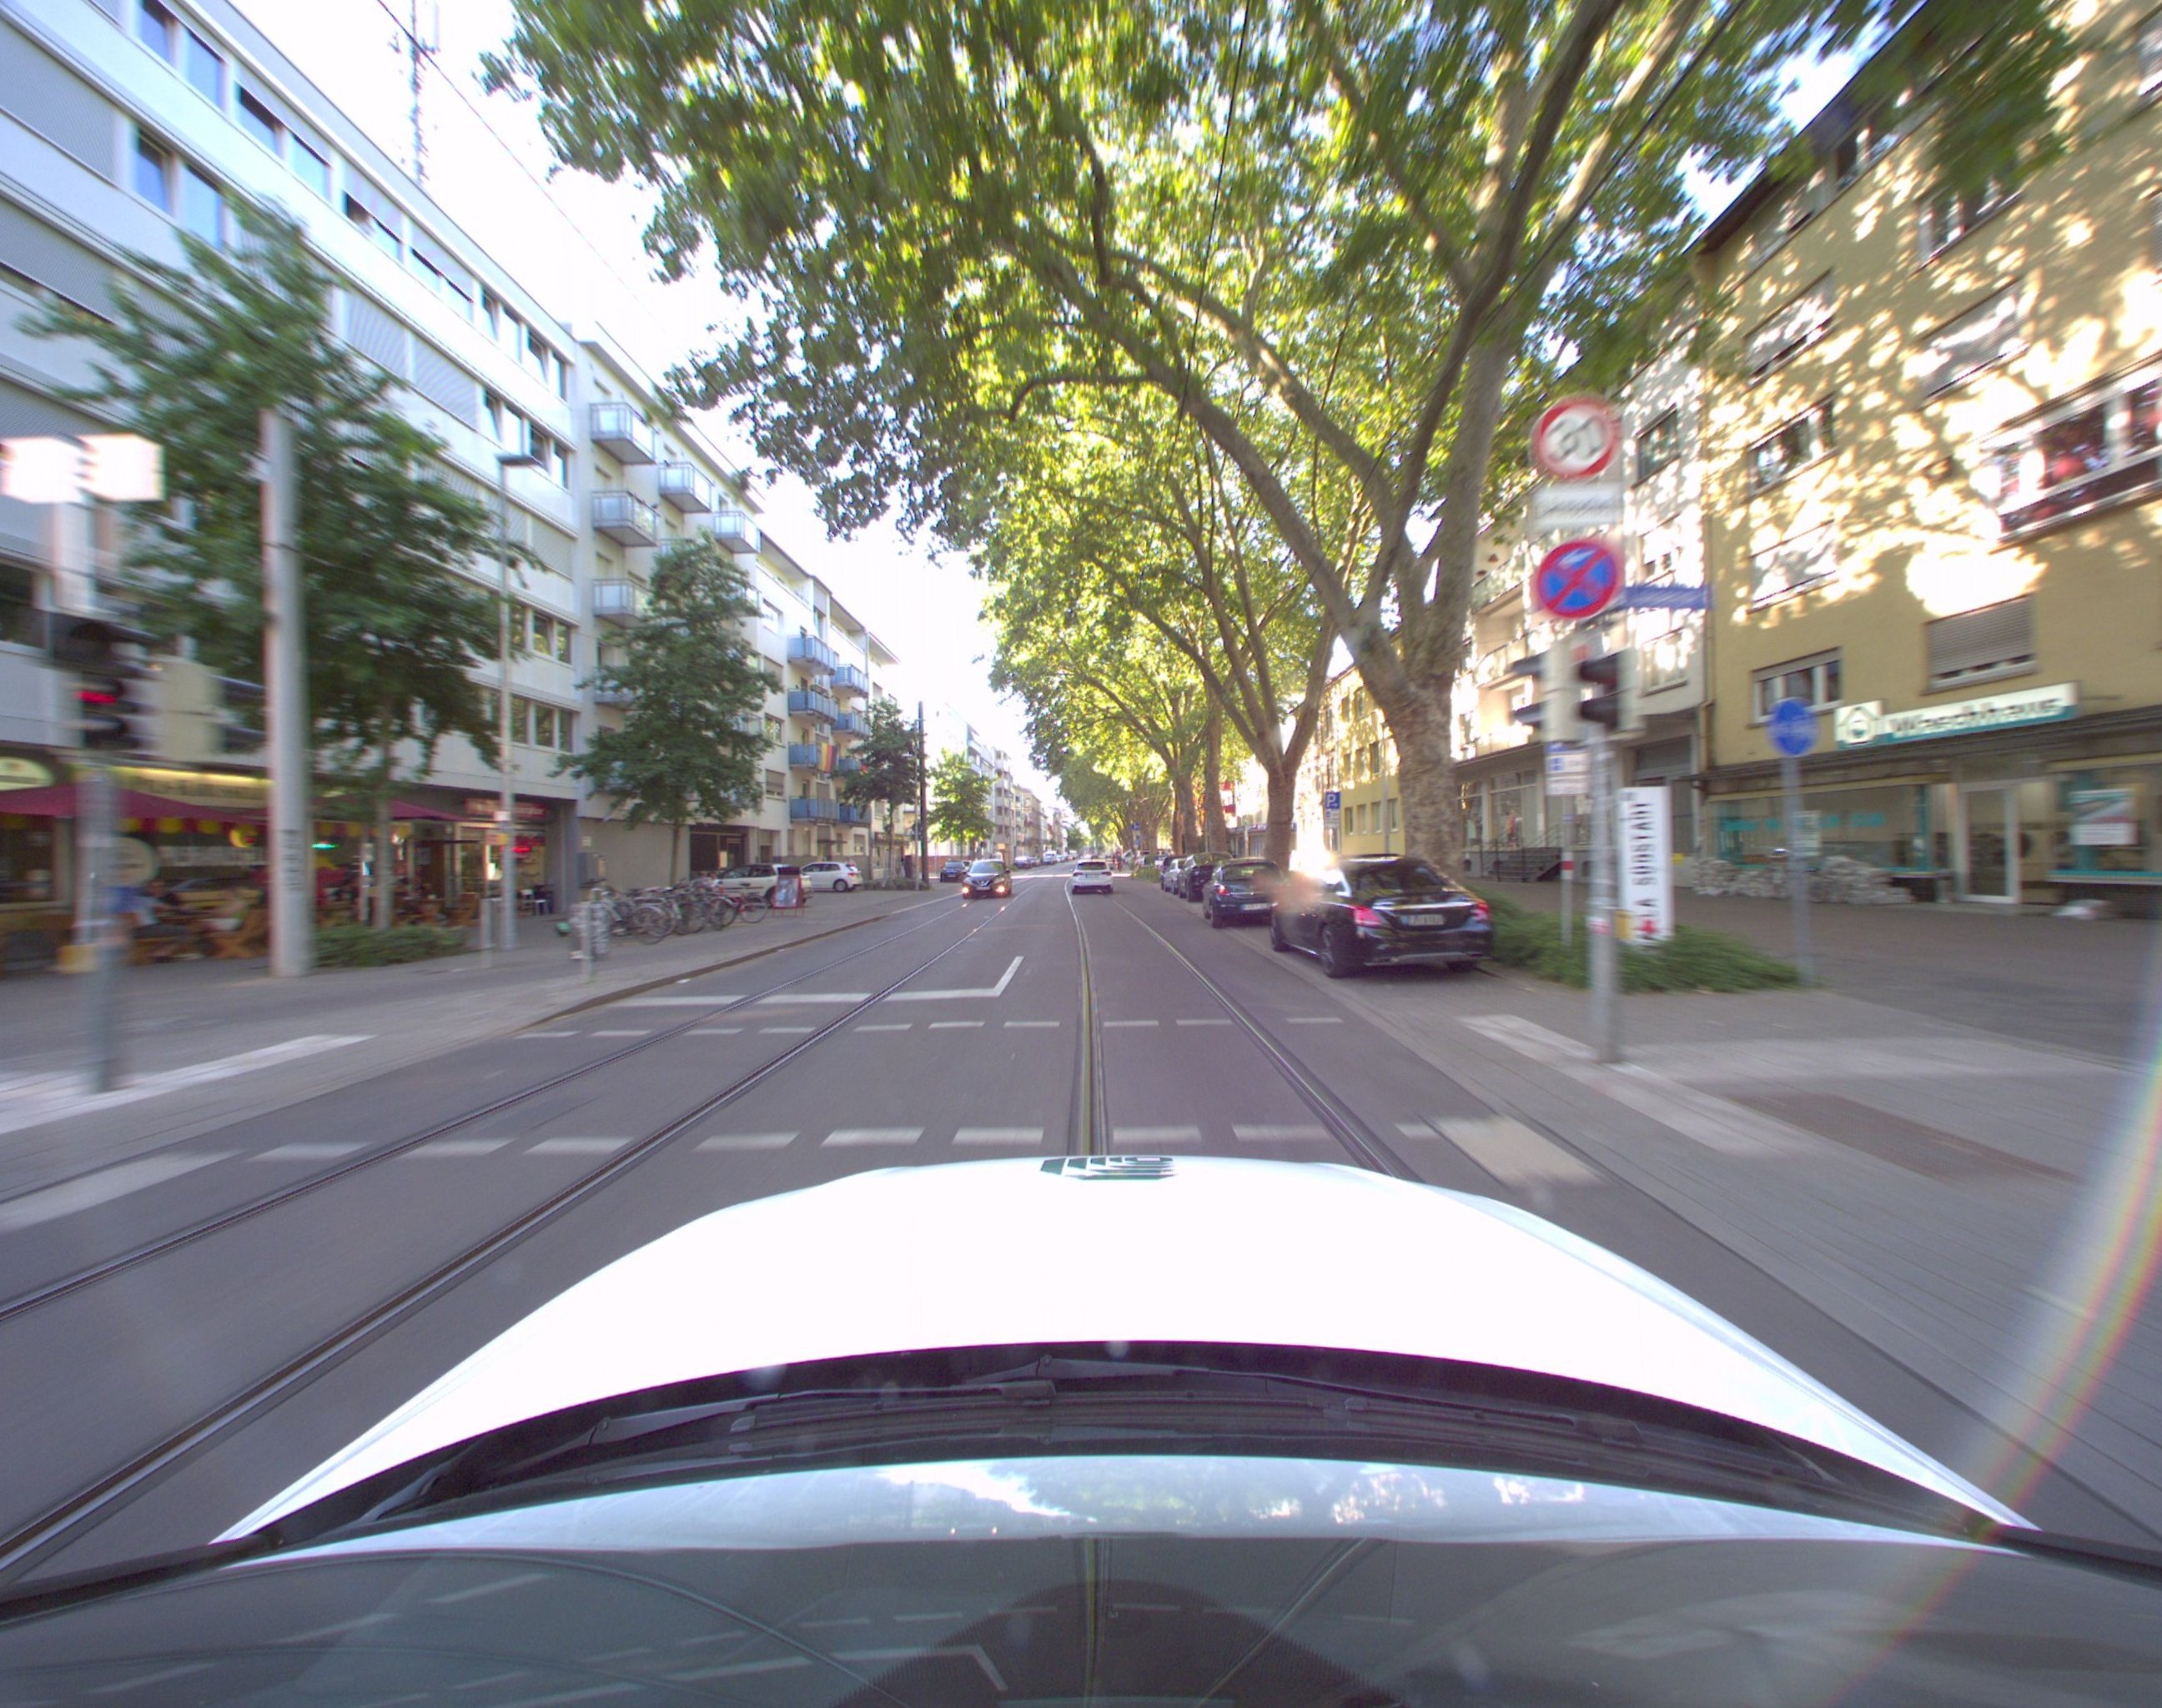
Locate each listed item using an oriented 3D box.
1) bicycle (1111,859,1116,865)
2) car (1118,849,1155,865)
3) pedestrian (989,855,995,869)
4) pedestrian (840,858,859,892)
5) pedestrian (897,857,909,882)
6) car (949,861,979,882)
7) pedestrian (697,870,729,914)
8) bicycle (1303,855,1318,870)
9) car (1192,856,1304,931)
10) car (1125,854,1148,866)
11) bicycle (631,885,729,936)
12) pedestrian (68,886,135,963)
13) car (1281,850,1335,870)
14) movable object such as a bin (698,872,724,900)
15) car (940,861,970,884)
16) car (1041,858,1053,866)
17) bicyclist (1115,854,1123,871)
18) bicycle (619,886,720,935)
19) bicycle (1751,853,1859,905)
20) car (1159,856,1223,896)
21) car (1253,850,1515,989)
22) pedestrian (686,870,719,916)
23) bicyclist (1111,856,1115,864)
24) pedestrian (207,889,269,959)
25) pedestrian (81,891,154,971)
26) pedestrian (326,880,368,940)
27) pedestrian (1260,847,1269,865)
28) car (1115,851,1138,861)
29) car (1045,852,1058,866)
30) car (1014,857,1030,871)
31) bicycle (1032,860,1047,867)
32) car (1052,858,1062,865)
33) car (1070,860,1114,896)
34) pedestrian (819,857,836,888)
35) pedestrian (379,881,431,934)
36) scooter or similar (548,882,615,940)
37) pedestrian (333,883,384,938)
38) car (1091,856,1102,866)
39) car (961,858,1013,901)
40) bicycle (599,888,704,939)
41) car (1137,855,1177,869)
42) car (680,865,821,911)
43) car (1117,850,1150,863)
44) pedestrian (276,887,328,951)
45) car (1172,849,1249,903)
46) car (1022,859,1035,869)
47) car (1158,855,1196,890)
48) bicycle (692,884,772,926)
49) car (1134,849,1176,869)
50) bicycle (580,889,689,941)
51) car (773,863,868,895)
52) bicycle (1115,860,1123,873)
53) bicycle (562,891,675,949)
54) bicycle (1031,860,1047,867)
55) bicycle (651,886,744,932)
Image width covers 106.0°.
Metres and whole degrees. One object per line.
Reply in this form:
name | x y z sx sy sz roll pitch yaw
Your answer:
bicycle | 5.214 1.298 131.783 0.647 1.071 1.583 -2 0 0
car | 9.534 0.502 139.662 6.111 2.635 2.528 -1 0 -1
pedestrian | -11.506 1.017 105.722 0.661 1.826 0.965 -1 -1 0
pedestrian | -11.927 1.084 41.984 0.761 1.691 0.794 -1 -1 0
pedestrian | -12.261 1.080 56.070 0.661 1.691 0.748 -1 -1 0
car | -8.661 1.295 60.421 1.709 1.464 4.373 2 -1 -2
pedestrian | -11.502 1.171 25.485 0.713 1.297 0.908 -2 0 -13
bicycle | 17.242 0.632 61.222 0.580 1.104 1.923 -3 0 1
car | 3.679 0.806 18.670 1.857 1.437 4.229 -2 0 3
car | 8.698 0.925 127.414 3.618 1.666 1.824 -1 0 3
bicycle | -8.846 1.238 18.015 1.825 1.064 0.657 0 -1 -4
pedestrian | -16.123 1.148 13.413 0.566 1.198 0.508 -1 -1 -34
car | 19.704 0.515 70.789 4.123 1.593 1.997 -1 0 -4
movable object such as a bin | -14.571 1.257 32.061 0.675 1.055 0.622 -2 0 3
car | -8.578 1.248 55.632 1.711 1.464 3.992 2 -1 -5
car | -6.250 1.444 149.780 1.986 1.530 4.001 -1 0 2
bicyclist | 3.220 0.695 69.266 0.676 1.443 1.047 -2 0 2
bicycle | -8.917 1.226 17.696 1.825 1.007 0.657 0 -1 -4
bicycle | 15.134 0.506 17.096 0.569 0.997 1.778 -3 0 -3
car | 4.460 0.881 33.578 1.812 1.436 4.599 -3 -1 -2
car | 3.810 0.722 11.330 1.759 1.462 5.011 -1 0 0
pedestrian | -11.266 1.155 24.241 0.713 1.297 0.744 -2 0 -13
bicyclist | 5.199 0.960 131.798 0.647 1.344 0.934 -2 0 -1
pedestrian | -15.248 1.251 14.738 0.509 1.198 0.564 -2 0 3
pedestrian | -15.427 1.217 13.052 0.512 1.198 0.561 -2 0 -15
pedestrian | -15.305 1.153 16.988 0.514 1.198 0.558 -1 -1 -28
pedestrian | 17.541 0.211 77.905 0.743 1.644 0.666 -1 -1 2
car | 12.137 0.546 218.498 6.111 2.282 2.528 -1 0 -1
car | -5.878 0.993 161.507 2.170 2.597 4.950 -1 0 2
car | -7.517 1.288 104.752 1.697 1.650 4.241 1 0 0
bicycle | -7.015 1.593 138.637 2.520 1.172 0.718 1 -2 -5
car | -5.374 1.601 181.832 1.986 1.530 4.001 -1 0 2
car | 0.449 0.991 34.789 1.756 1.384 4.000 -2 0 0
pedestrian | -13.688 0.990 43.959 0.661 1.691 0.748 -1 -1 0
pedestrian | -16.293 1.279 19.649 0.670 1.198 0.655 -2 0 0
scooter or similar | -10.458 1.186 17.058 1.076 1.176 0.498 0 -1 0
pedestrian | -16.283 1.260 18.361 0.560 1.198 0.624 -2 0 0
car | 2.478 1.038 129.329 1.755 1.475 4.002 -2 0 2
car | -3.742 0.986 33.130 1.867 1.590 4.140 1 0 -4
bicycle | -8.966 1.237 17.050 1.825 1.007 0.657 0 -1 -4
car | 8.379 0.889 90.086 4.283 1.479 1.830 -1 0 0
car | -11.115 1.132 27.575 3.997 1.475 1.852 0 -1 2
car | 10.173 0.510 158.280 6.111 2.282 2.528 -1 0 -1
pedestrian | -15.411 1.262 16.122 0.604 1.198 0.685 -1 -1 -34
car | 4.366 0.740 28.227 1.852 1.603 4.781 -3 -1 0
car | -7.744 1.439 120.644 1.648 1.437 3.836 -1 0 0
car | 4.448 0.861 38.118 1.557 1.519 2.913 -3 -1 4
bicycle | -8.634 1.253 20.178 1.687 1.007 0.657 0 -1 -4
car | 8.429 0.576 92.667 4.531 2.076 2.000 -1 0 -1
bicycle | -9.069 1.225 16.598 1.825 1.007 0.657 0 -1 -4
car | -12.472 1.198 39.165 4.001 1.475 1.850 0 -1 -2
bicycle | 3.229 1.093 69.331 0.679 1.071 1.782 -2 0 2
bicycle | -8.561 1.212 15.119 1.687 1.007 0.657 0 -1 -4
bicycle | -7.102 1.587 137.756 2.545 1.172 0.873 2 -2 -38
bicycle | -8.843 1.256 18.832 1.825 1.007 0.657 0 -1 -4
